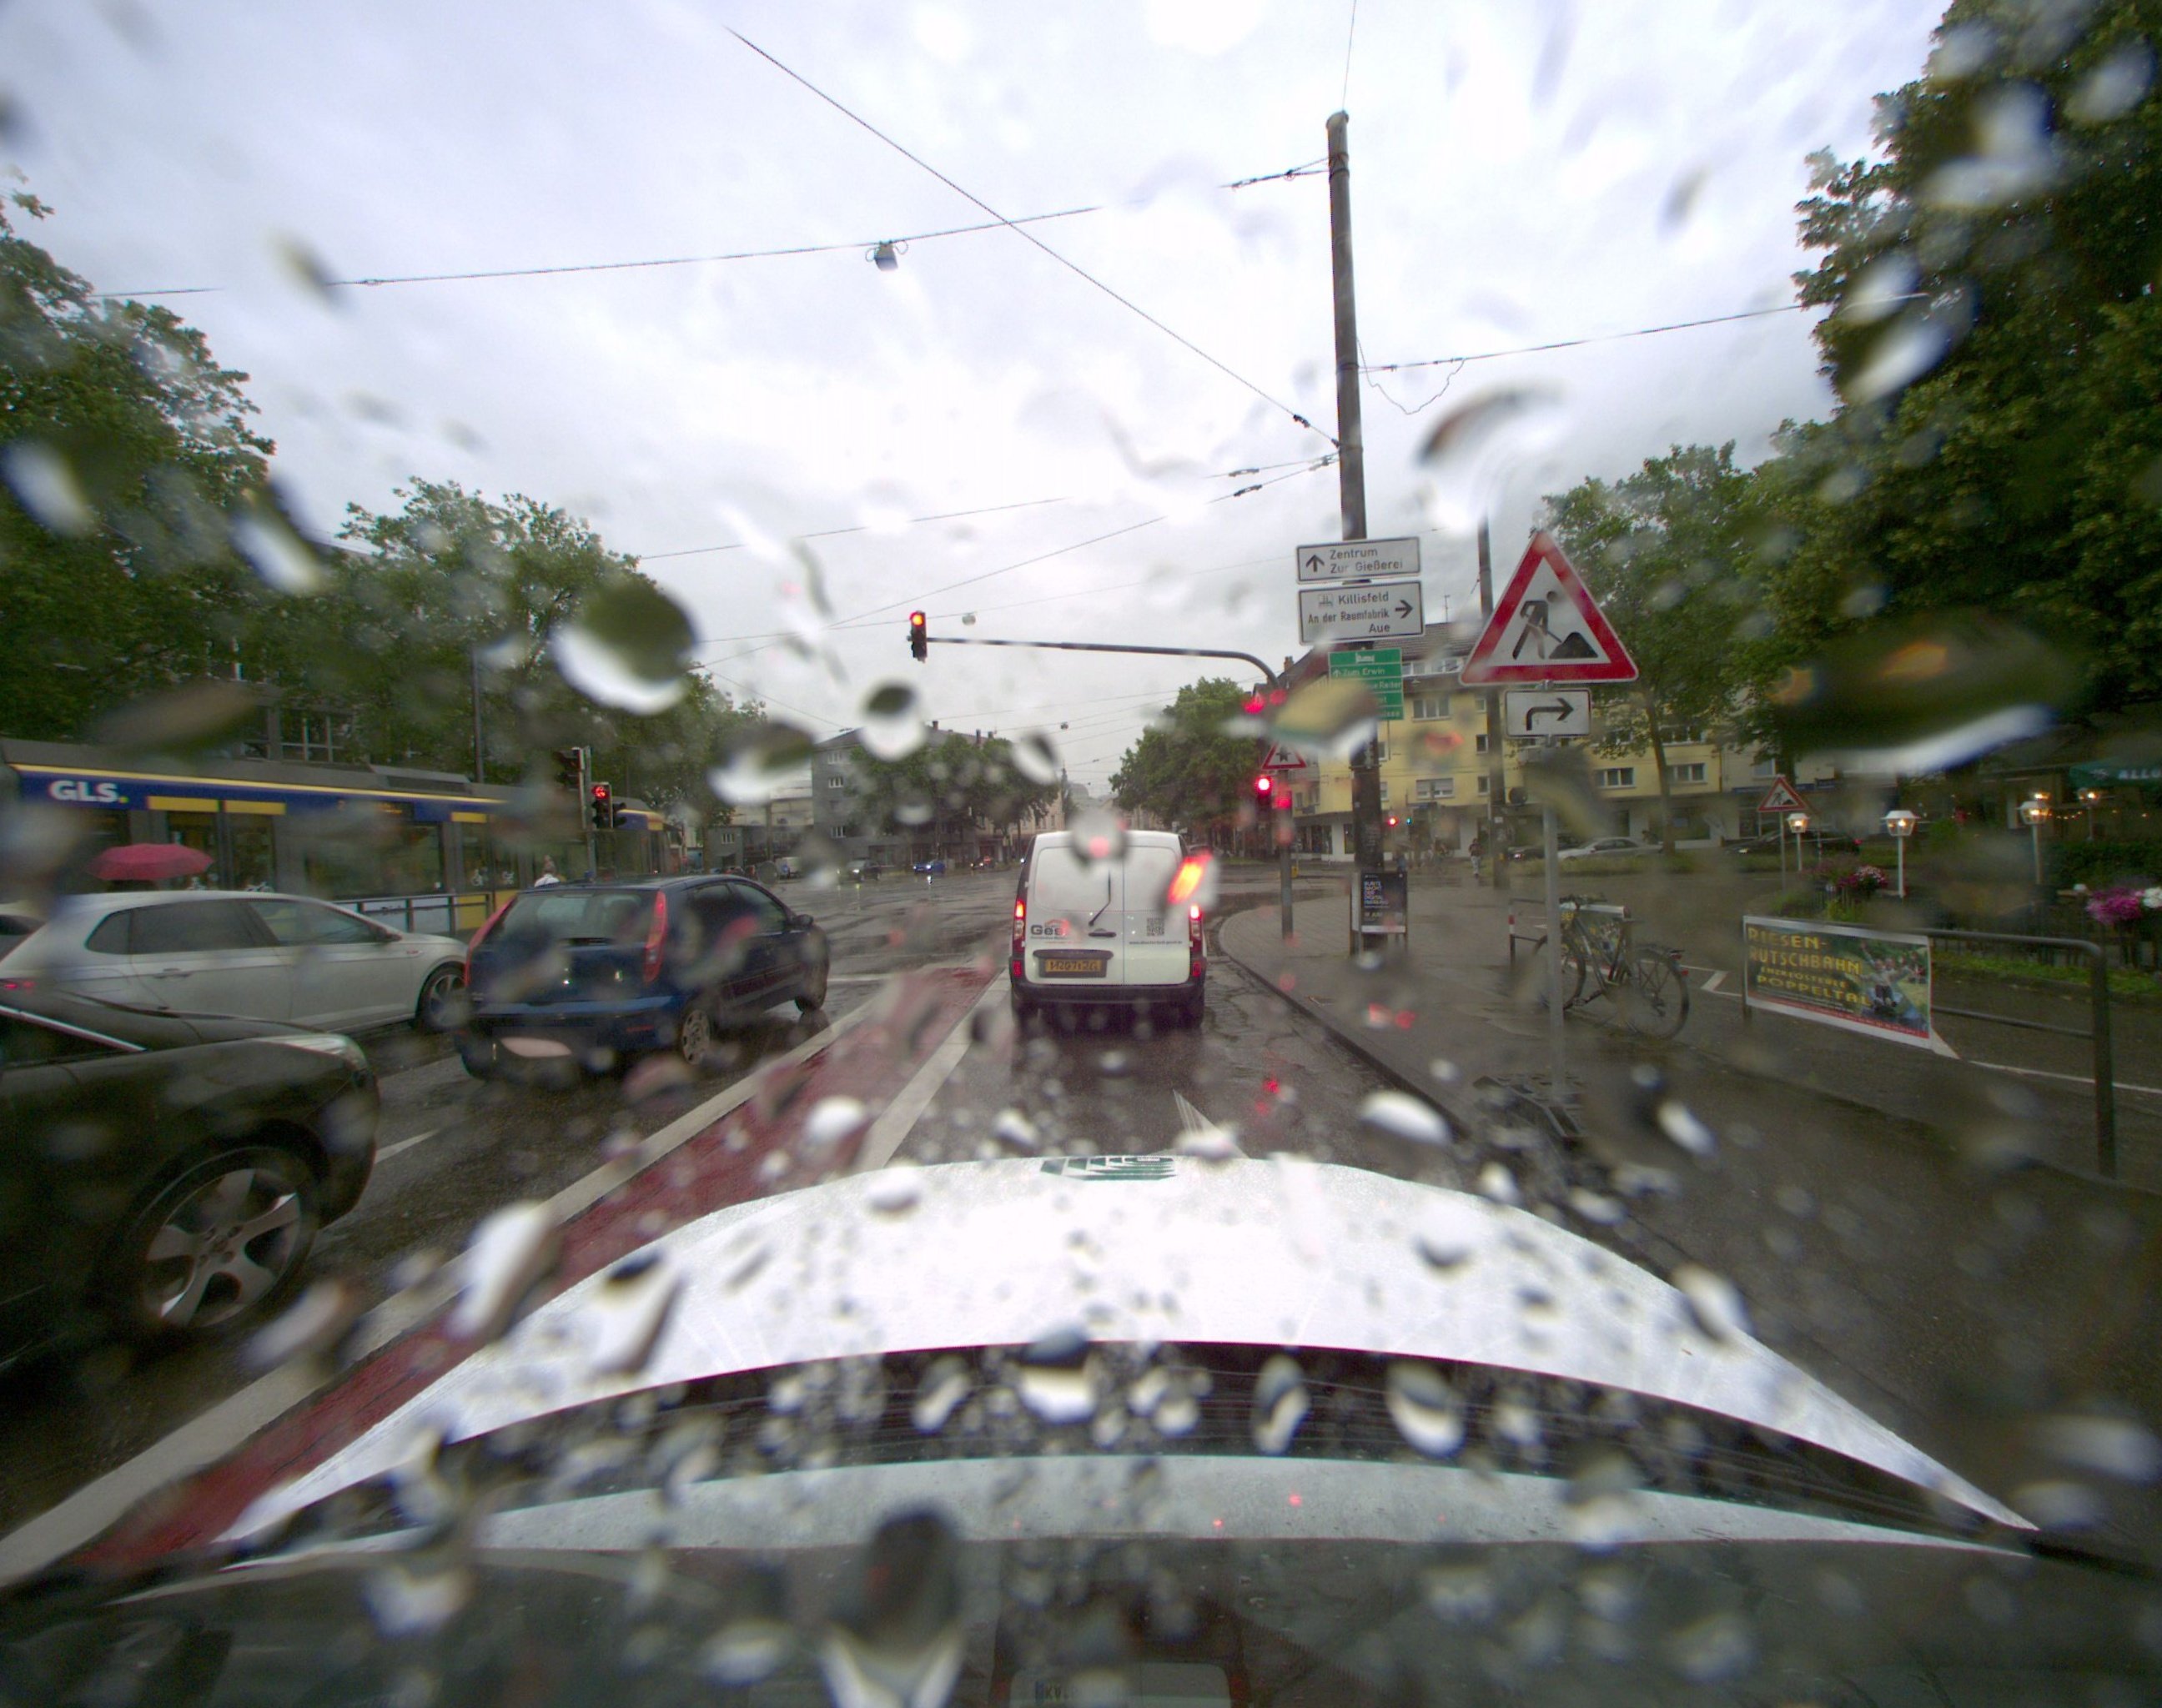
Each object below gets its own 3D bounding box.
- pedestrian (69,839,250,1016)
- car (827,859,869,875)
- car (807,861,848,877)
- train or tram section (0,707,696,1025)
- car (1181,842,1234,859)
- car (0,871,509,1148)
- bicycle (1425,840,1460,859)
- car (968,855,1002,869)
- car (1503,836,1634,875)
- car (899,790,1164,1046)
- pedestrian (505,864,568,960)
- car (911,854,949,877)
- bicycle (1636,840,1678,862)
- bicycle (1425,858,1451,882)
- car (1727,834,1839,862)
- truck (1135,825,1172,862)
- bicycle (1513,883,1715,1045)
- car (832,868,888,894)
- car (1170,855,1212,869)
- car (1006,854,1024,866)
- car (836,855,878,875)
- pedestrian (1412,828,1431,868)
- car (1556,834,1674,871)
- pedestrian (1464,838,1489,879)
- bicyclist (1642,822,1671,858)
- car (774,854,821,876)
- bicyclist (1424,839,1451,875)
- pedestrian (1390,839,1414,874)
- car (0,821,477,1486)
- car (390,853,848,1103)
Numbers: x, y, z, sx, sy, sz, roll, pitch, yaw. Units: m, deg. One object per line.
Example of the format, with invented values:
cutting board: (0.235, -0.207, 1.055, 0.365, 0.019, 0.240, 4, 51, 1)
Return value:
pedestrian: (-9.799, 0.735, 8.705, 0.763, 1.746, 0.899, -4, 1, 1)
car: (-25.036, 1.414, 87.577, 1.975, 1.530, 4.025, -1, 1, 29)
car: (-27.527, 1.607, 88.485, 1.935, 1.496, 4.025, -1, 1, 29)
train or tram section: (-12.782, 0.144, 13.868, 3.522, 3.413, 15.534, 0, 0, 7)
car: (10.669, -0.315, 68.903, 4.160, 1.339, 1.518, -2, 1, -6)
car: (-6.778, 0.935, 6.512, 1.623, 1.494, 3.783, -1, 0, 2)
bicycle: (24.326, -0.293, 54.855, 2.085, 1.261, 0.534, -1, 1, 16)
car: (-10.142, 0.820, 86.181, 1.935, 1.239, 4.020, -1, 1, 19)
car: (22.853, 0.113, 38.369, 4.902, 1.643, 2.007, -1, -3, 14)
car: (-0.324, 0.535, 9.069, 2.092, 2.012, 4.965, -2, -1, 2)
pedestrian: (-9.479, 0.987, 14.194, 0.624, 1.607, 0.740, -1, 0, -6)
car: (-13.476, 0.989, 72.994, 1.981, 2.013, 4.011, -1, 0, 10)
bicycle: (26.681, -0.136, 37.721, 1.630, 1.002, 0.423, -1, 0, 3)
bicycle: (16.209, 0.713, 37.023, 0.456, 1.027, 1.904, -2, 1, 4)
car: (29.277, -0.261, 34.029, 3.511, 1.082, 1.248, -1, 0, 4)
truck: (10.969, -1.485, 121.836, 3.446, 5.087, 15.359, -1, 0, 13)
bicycle: (4.482, 0.846, 7.044, 0.512, 1.107, 2.018, 1, 0, 3)
car: (-15.976, 1.916, 59.068, 1.935, 1.607, 4.020, -1, 1, 19)
car: (9.533, 0.670, 70.665, 3.437, 1.130, 1.468, -1, 0, -6)
car: (-8.226, 0.738, 101.753, 1.777, 1.552, 4.002, -1, 0, 2)
car: (-23.425, 1.184, 85.453, 1.975, 2.013, 4.025, -1, 0, 29)
pedestrian: (17.469, -0.302, 41.811, 0.787, 2.014, 0.865, -1, -1, 27)
car: (22.962, -0.077, 35.185, 3.906, 1.490, 1.815, -1, 1, 17)
pedestrian: (16.526, 0.179, 34.048, 0.896, 1.669, 1.026, -1, 0, 27)
bicyclist: (26.641, -0.644, 37.727, 0.810, 1.615, 0.711, -1, 0, 2)
car: (-30.751, 1.155, 88.410, 1.975, 2.198, 4.816, 0, 2, 25)
bicyclist: (16.193, 0.140, 37.054, 0.874, 1.583, 0.861, -1, 0, 5)
pedestrian: (14.309, 0.127, 36.278, 0.820, 1.534, 0.616, -1, -1, -37)
car: (-3.652, 0.765, 1.516, 1.827, 1.668, 4.174, -1, 0, 2)
car: (-3.519, 0.806, 7.141, 1.720, 1.578, 3.822, -1, 0, 2)
